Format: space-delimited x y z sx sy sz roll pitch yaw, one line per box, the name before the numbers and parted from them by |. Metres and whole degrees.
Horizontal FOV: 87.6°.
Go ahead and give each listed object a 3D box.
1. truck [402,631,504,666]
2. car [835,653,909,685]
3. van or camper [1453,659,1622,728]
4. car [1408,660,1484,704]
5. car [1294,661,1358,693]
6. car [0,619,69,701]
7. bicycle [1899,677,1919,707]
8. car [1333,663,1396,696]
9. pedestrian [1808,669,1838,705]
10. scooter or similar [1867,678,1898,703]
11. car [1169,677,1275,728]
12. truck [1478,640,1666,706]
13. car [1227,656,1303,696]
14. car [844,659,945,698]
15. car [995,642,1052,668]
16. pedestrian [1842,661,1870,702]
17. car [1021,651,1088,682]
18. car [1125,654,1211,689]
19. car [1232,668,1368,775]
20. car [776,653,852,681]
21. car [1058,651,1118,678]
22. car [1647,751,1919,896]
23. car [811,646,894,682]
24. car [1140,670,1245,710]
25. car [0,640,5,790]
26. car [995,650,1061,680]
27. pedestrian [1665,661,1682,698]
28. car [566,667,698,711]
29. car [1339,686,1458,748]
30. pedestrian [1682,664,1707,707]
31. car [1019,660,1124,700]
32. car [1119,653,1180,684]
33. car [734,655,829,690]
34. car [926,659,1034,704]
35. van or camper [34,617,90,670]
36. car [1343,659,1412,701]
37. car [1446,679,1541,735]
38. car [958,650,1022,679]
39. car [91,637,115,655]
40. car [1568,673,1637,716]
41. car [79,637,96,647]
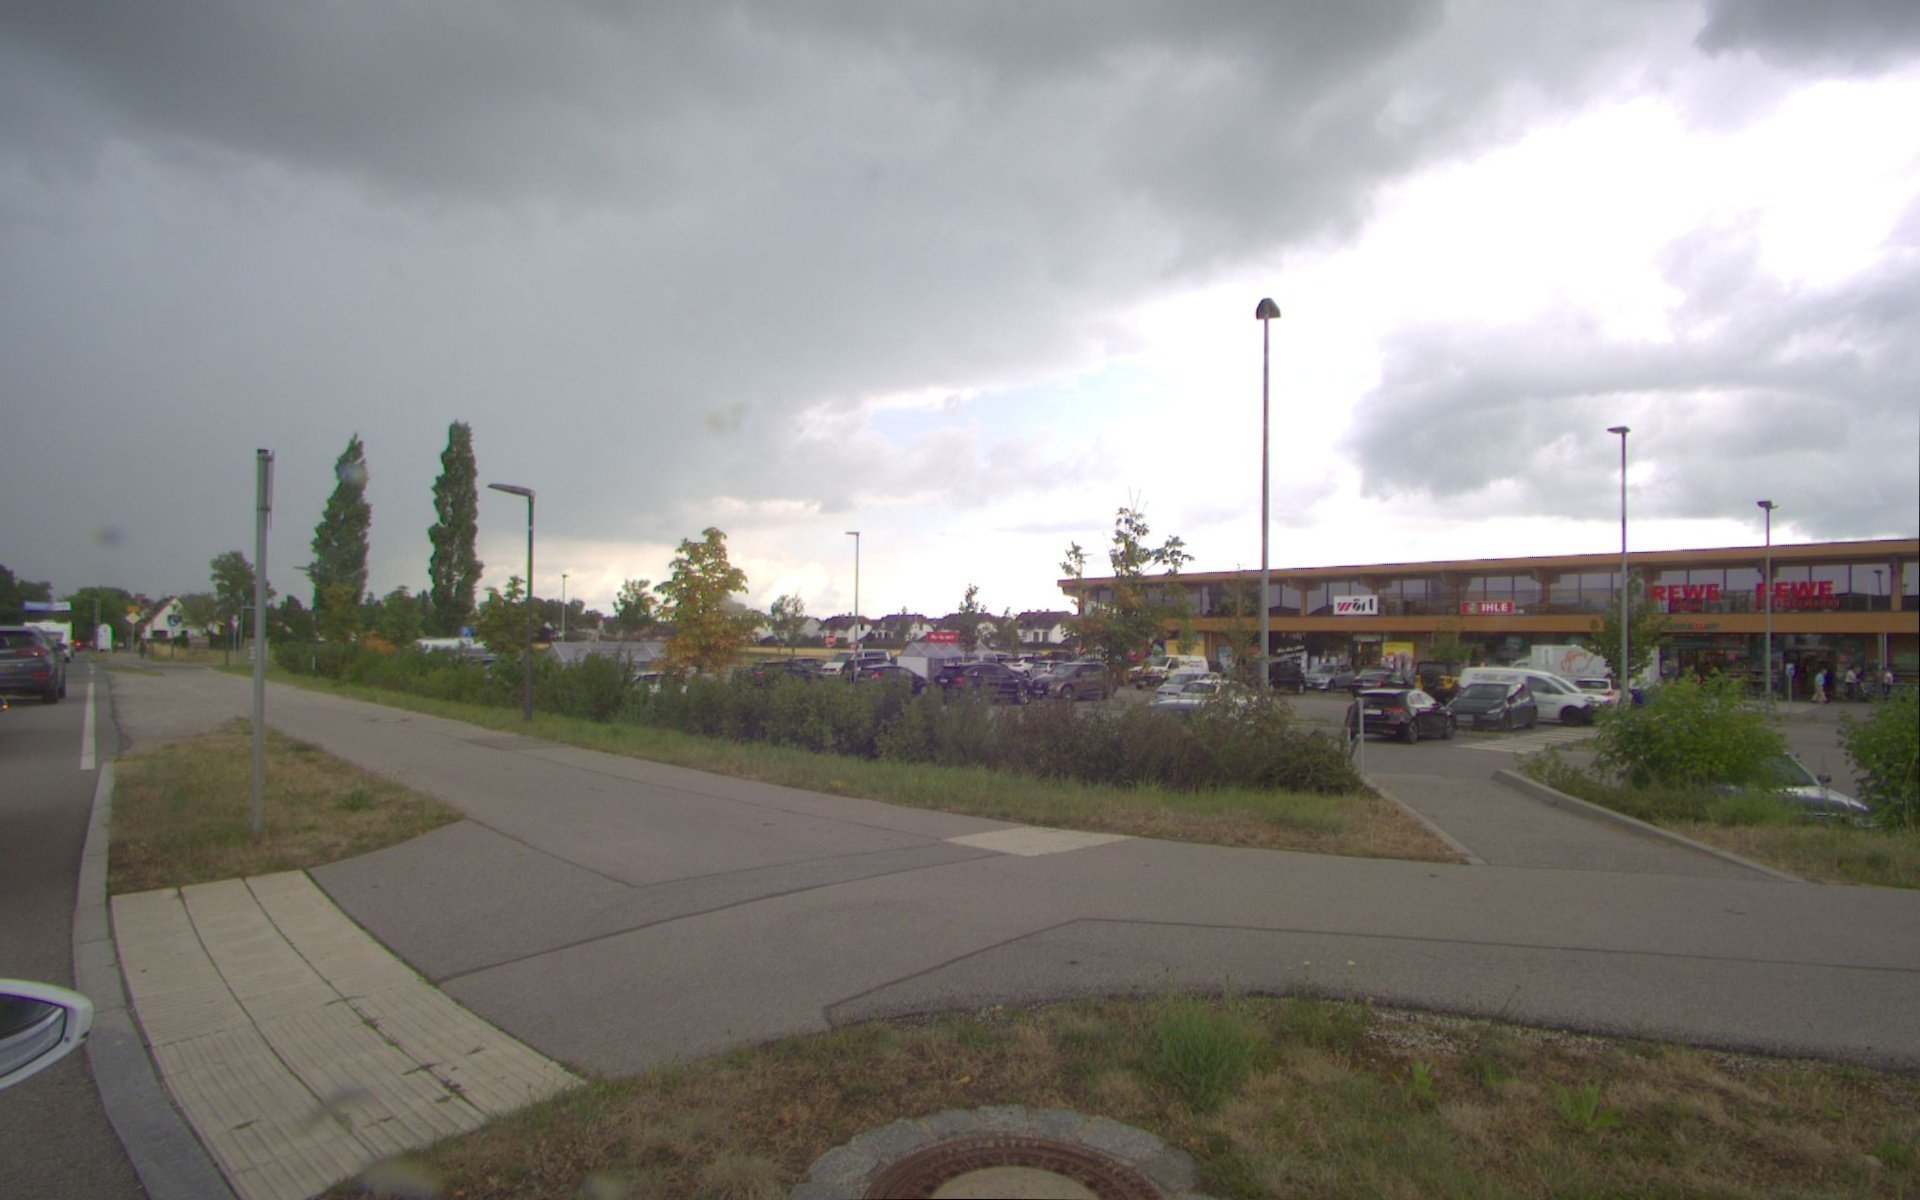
truck | -28.943 2.809 57.252 1.980 1.895 4.770 -2 -4 44
car | -4.930 3.861 56.448 3.960 1.727 1.701 3 -4 -42
van or camper | 19.754 3.120 34.446 1.748 2.124 4.761 2 -3 -42
car | 22.086 3.703 45.421 3.960 1.877 1.757 3 -4 -42
car | 20.280 4.238 55.403 1.750 1.632 4.188 -2 -4 45
car | -20.345 1.248 21.473 1.764 1.638 3.965 2 -3 -41
bicycle | 44.676 4.201 45.529 0.970 1.325 2.844 2 -3 -42
car | 21.761 4.246 53.834 3.858 1.674 1.751 4 -4 -44
pedestrian | 40.688 4.100 47.210 0.738 1.678 0.803 1 -2 -23
scooter or similar | 44.139 4.335 47.910 0.989 1.140 0.790 0 -4 36
car | 8.607 3.292 32.726 1.665 1.503 3.962 -2 -4 44
truck | 28.876 3.375 47.460 7.183 2.842 2.951 -2 -3 44
car | 15.814 3.948 51.896 3.962 1.859 1.983 6 -5 -42
car | -2.967 3.581 46.151 4.373 1.685 1.983 3 -3 -42
car | 4.690 4.091 73.961 3.954 1.863 1.861 2 -3 -38
pedestrian | 43.377 3.958 48.491 0.916 1.921 0.790 0 -4 36
car | 5.970 4.185 62.840 3.956 1.860 1.985 3 -4 -39
car | 11.611 3.980 55.670 5.250 1.853 1.983 4 -4 -42
car | 4.634 1.634 14.038 1.550 1.221 3.756 1 -4 15
car | -8.844 4.049 60.874 4.280 1.597 1.753 3 -3 -40
car | 8.841 4.451 69.019 3.956 1.794 1.984 3 -3 -39
car | 11.531 3.039 14.242 1.551 1.389 3.733 0 -3 11
car | -6.360 3.773 59.836 1.975 2.039 5.090 0 -2 38
car | 9.686 3.677 41.485 4.741 1.503 1.887 3 -3 -42
car | -6.565 0.926 5.533 1.772 1.409 4.094 3 -3 -43
car | 4.440 4.202 64.988 3.954 1.861 1.985 3 -3 -38
pedestrian | 38.435 4.254 53.930 0.519 1.973 0.575 2 -2 -35
car | -12.024 3.235 36.829 4.203 1.458 1.983 3 -3 -41
car | 12.316 3.209 27.995 1.817 1.415 3.965 -1 -3 44
pedestrian | 35.527 4.122 48.443 0.921 2.039 0.799 -1 -2 41
car | 5.094 3.569 45.366 4.940 1.685 1.982 3 -3 -42
car | 12.240 4.395 64.497 4.076 1.917 1.781 4 -4 -43
car | -9.288 3.753 52.369 4.525 1.685 1.983 3 -3 -42
car | 0.879 3.360 41.438 4.421 1.727 1.788 4 -4 -42
van or camper | -60.207 2.952 67.204 2.607 3.364 6.763 3 -4 -41
car | 19.929 3.780 47.739 1.754 1.878 3.966 -1 -3 44
car | 16.999 3.344 31.834 1.713 1.572 3.967 -1 -3 43
car | 2.029 4.318 66.873 3.955 1.860 1.985 3 -3 -38
car | -80.180 4.261 93.735 1.601 1.651 3.586 3 -3 -40
car | 26.073 3.792 40.580 1.713 1.549 3.967 -1 -3 43
car | -118.585 5.722 136.135 1.601 1.288 3.432 3 -3 -40
